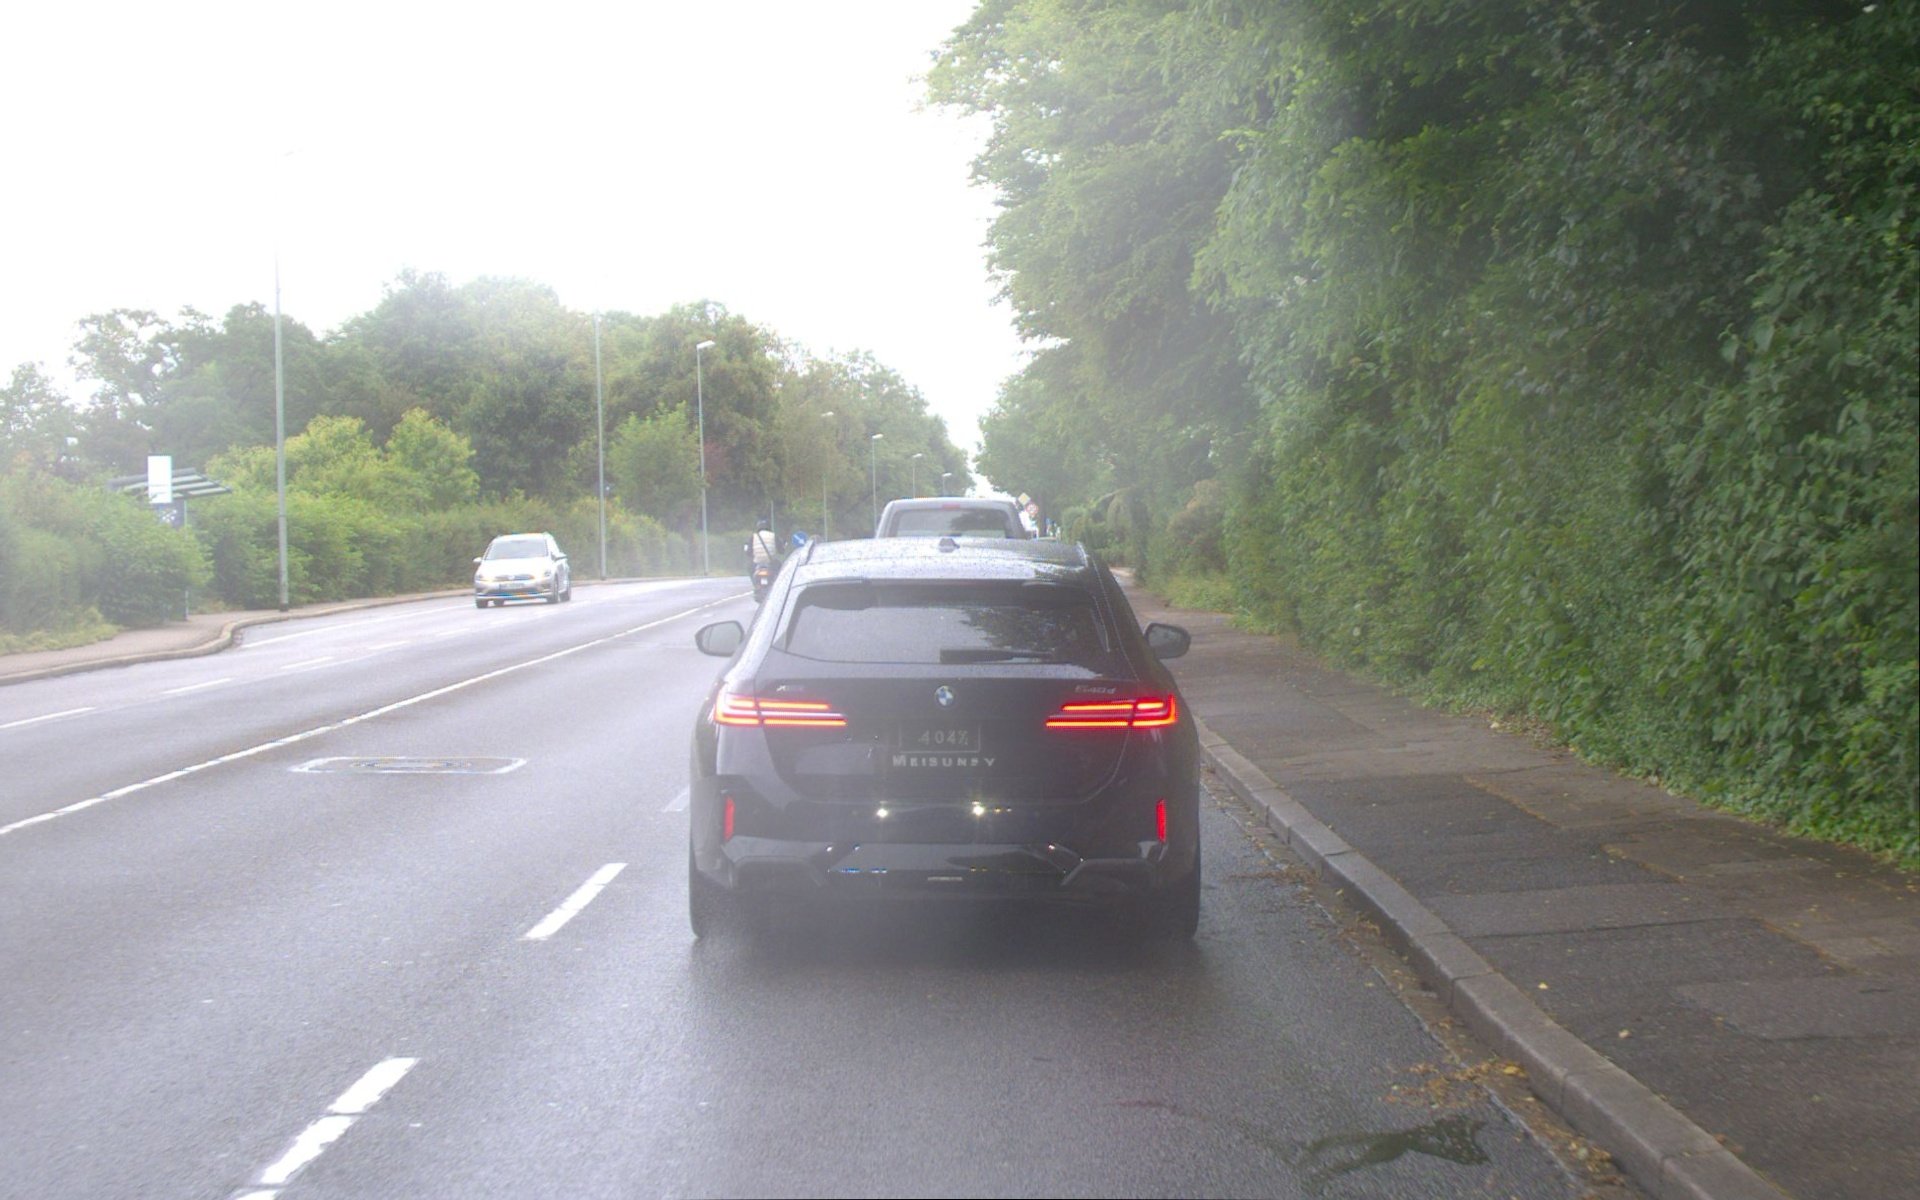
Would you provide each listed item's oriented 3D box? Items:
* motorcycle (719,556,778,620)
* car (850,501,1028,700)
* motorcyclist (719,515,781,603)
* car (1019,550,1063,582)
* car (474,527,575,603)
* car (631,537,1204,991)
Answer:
[{"bbox_3d":[-3.803,-0.214,62.020,0.876,1.120,2.741,1,0,0],"label":"motorcycle"},{"bbox_3d":[-0.189,-0.025,34.396,1.629,1.827,4.000,-2,1,0],"label":"car"},{"bbox_3d":[-3.790,-0.738,61.998,1.039,1.562,0.855,1,0,0],"label":"motorcyclist"},{"bbox_3d":[3.820,-1.597,161.569,1.935,1.437,4.407,-2,0,3],"label":"car"},{"bbox_3d":[-9.620,-0.786,76.191,1.756,1.563,4.000,-2,1,-1],"label":"car"},{"bbox_3d":[-0.099,0.536,13.529,1.897,1.484,4.000,1,0,1],"label":"car"}]
